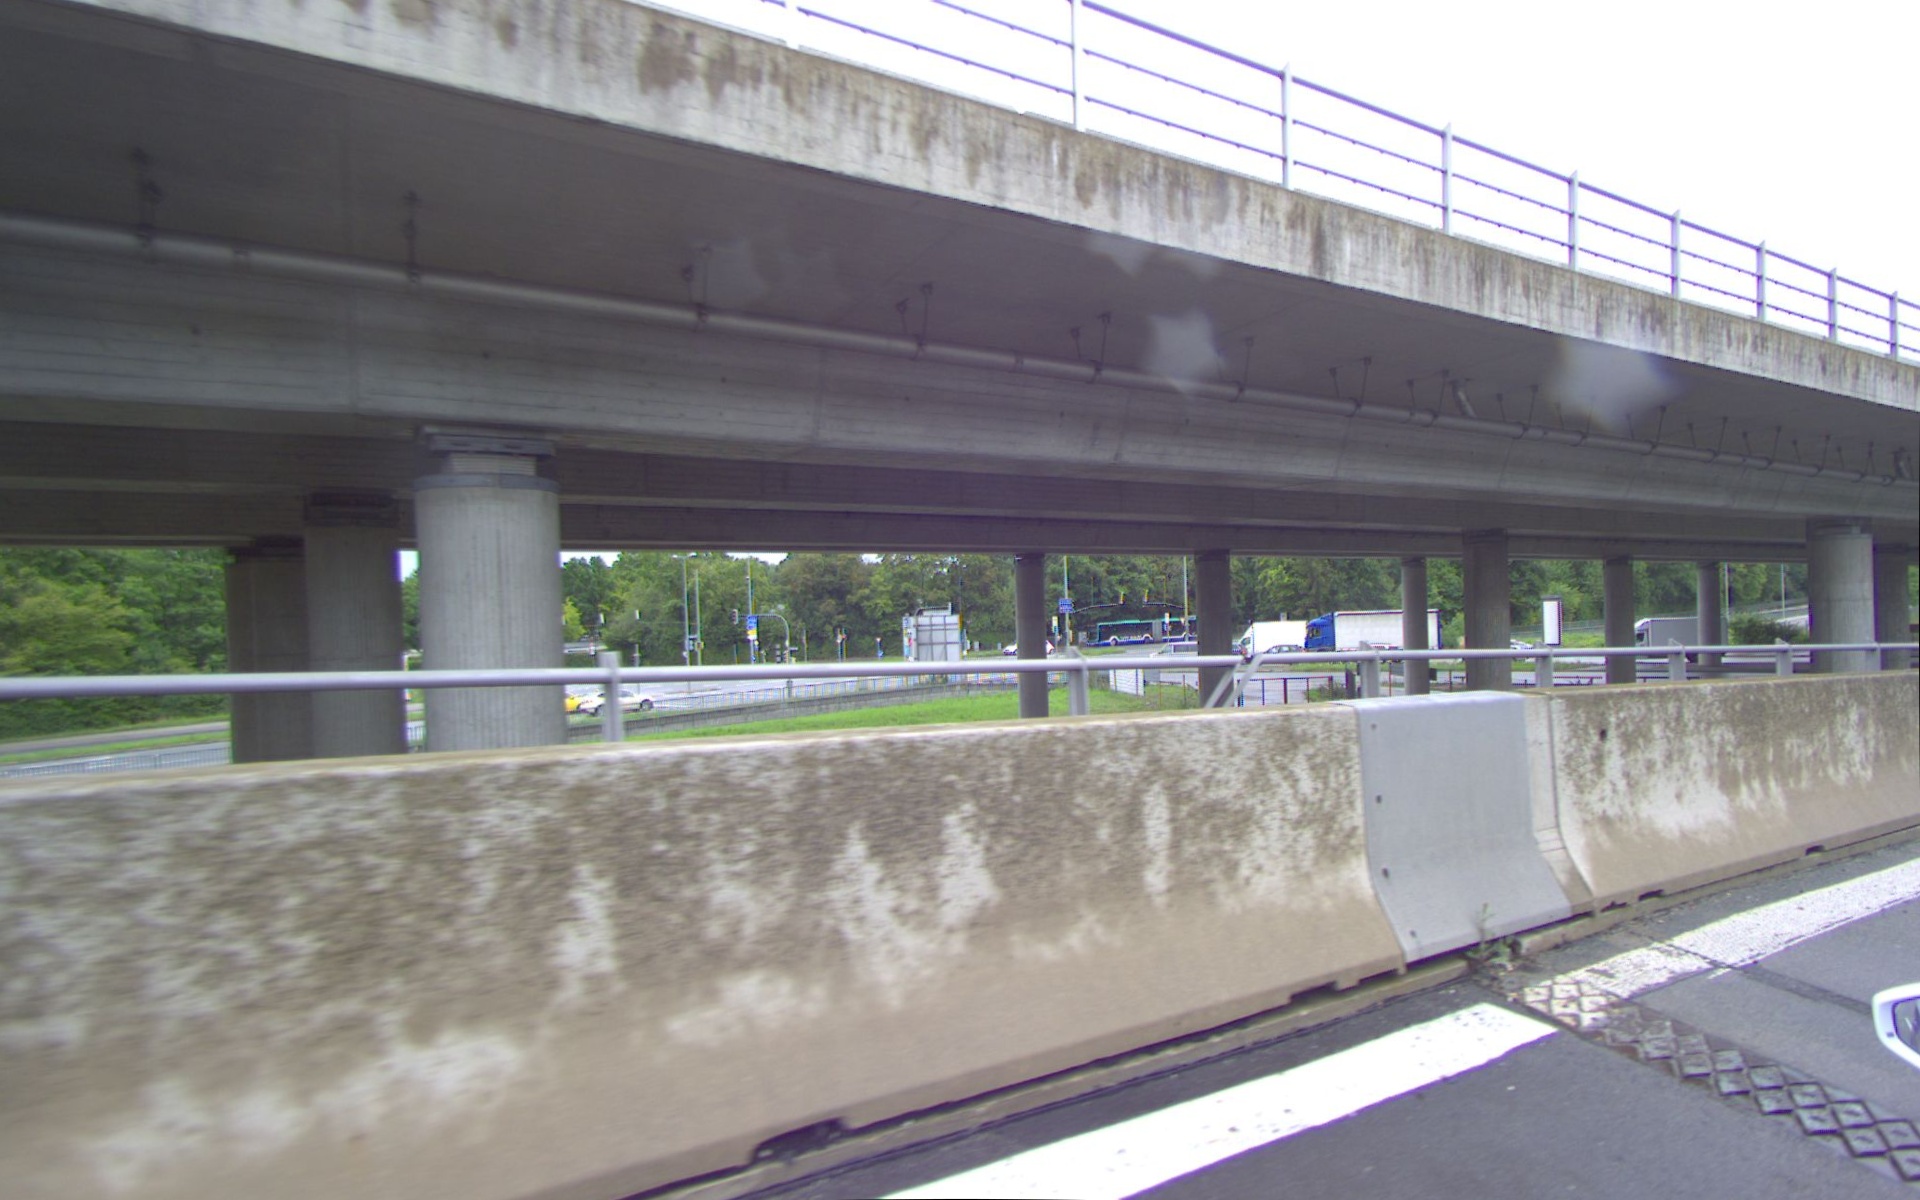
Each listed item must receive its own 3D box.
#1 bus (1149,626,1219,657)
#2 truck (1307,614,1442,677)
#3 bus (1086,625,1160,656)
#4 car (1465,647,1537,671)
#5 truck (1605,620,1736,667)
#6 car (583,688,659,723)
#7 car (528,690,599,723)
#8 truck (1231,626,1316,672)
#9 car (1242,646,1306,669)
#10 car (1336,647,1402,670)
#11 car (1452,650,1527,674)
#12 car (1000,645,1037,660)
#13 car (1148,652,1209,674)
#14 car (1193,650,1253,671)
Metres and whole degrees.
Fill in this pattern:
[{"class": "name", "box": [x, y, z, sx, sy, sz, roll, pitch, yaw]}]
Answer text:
[{"class": "bus", "box": [29.340, 5.443, 131.471, 9.785, 3.750, 2.216, 2, -1, -27]}, {"class": "truck", "box": [31.844, 3.435, 77.443, 9.420, 4.652, 2.797, -1, -2, 25]}, {"class": "bus", "box": [20.666, 5.125, 126.964, 9.785, 3.750, 2.216, 2, -1, -27]}, {"class": "car", "box": [39.633, 4.304, 73.738, 4.504, 1.604, 1.974, -1, -2, 25]}, {"class": "truck", "box": [48.993, 2.943, 69.455, 7.098, 3.016, 2.258, 0, -1, 27]}, {"class": "car", "box": [-21.720, 6.734, 64.391, 4.328, 1.773, 1.789, -1, 2, -39]}, {"class": "car", "box": [-25.894, 6.910, 65.653, 3.966, 1.640, 1.828, -1, 2, -39]}, {"class": "truck", "box": [26.166, 4.048, 83.852, 6.518, 3.728, 2.798, -1, -2, 25]}, {"class": "car", "box": [24.207, 4.404, 77.447, 4.502, 1.604, 1.975, 0, -2, 23]}, {"class": "car", "box": [30.414, 4.337, 74.841, 4.502, 1.604, 1.975, -1, -2, 22]}, {"class": "car", "box": [37.618, 4.425, 71.517, 4.502, 1.604, 1.975, -1, -2, 22]}, {"class": "car", "box": [6.584, 5.940, 112.734, 3.963, 1.583, 1.780, 1, -3, -37]}, {"class": "car", "box": [17.501, 5.015, 80.508, 4.502, 1.627, 1.975, 0, -2, 22]}, {"class": "car", "box": [21.474, 4.927, 82.019, 4.502, 1.627, 1.975, 0, -2, 22]}]
